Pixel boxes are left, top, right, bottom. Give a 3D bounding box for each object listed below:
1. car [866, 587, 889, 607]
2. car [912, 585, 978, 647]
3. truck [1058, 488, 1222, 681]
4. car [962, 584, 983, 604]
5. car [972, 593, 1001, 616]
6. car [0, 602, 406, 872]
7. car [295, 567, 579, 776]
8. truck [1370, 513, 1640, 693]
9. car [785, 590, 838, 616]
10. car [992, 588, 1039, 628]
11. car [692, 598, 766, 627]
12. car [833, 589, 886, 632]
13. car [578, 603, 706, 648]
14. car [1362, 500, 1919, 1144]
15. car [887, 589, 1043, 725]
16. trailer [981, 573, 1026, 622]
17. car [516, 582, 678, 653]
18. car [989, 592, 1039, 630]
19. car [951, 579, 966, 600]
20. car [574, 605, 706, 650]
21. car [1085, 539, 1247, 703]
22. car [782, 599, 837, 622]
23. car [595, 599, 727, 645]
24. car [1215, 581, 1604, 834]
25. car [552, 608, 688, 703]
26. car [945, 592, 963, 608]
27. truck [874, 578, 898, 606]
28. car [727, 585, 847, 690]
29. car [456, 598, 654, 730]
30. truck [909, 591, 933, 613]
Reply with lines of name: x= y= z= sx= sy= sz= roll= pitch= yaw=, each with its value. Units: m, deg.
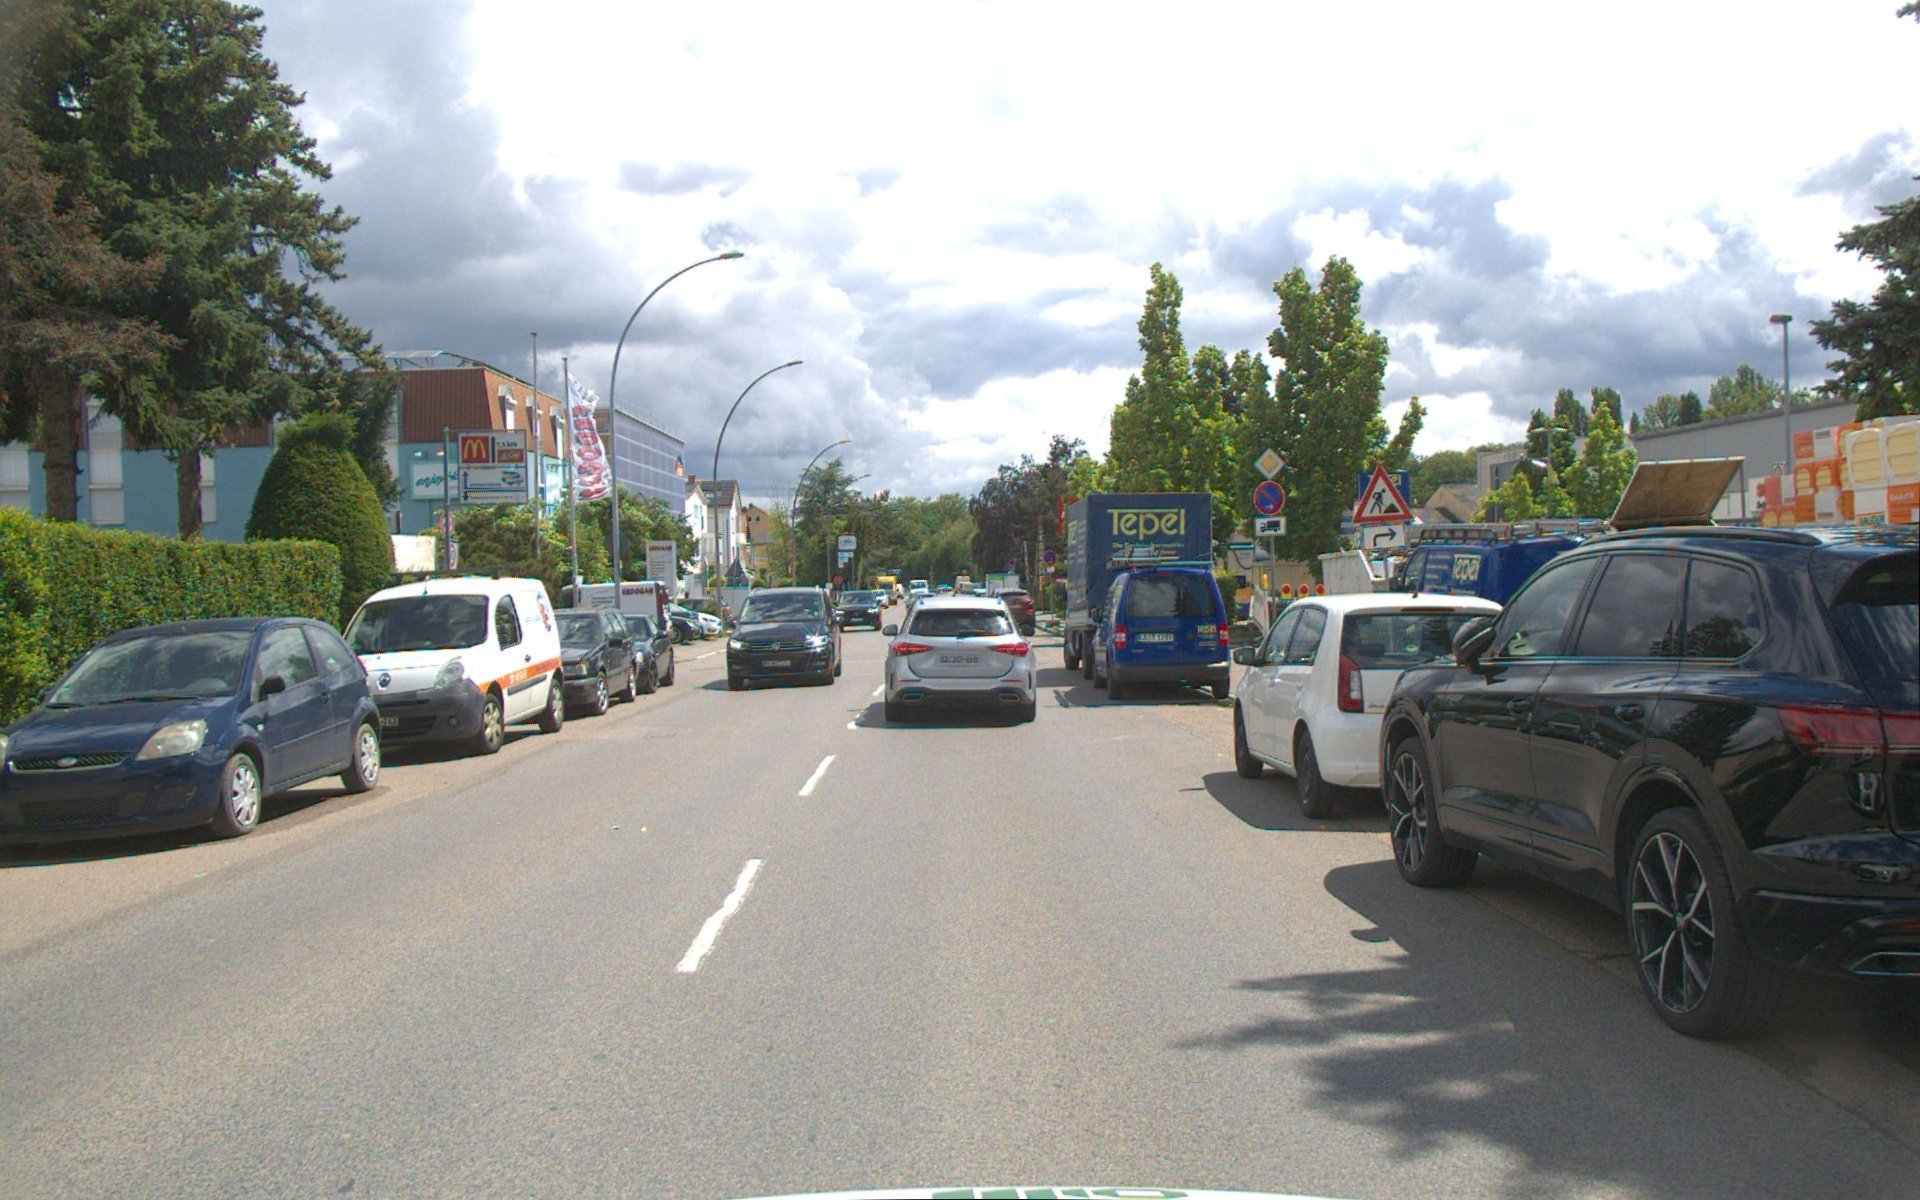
car: x=-7.002 y=-0.274 z=141.003 sx=1.755 sy=1.631 sz=4.363 roll=-2 pitch=1 yaw=-1
car: x=-0.439 y=0.402 z=45.792 sx=1.720 sy=1.585 sz=3.999 roll=-1 pitch=1 yaw=-1
truck: x=3.141 y=-0.278 z=30.245 sx=2.273 sy=3.151 sz=6.042 roll=1 pitch=0 yaw=-1
car: x=1.337 y=-0.608 z=176.519 sx=2.100 sy=2.018 sz=5.261 roll=-2 pitch=0 yaw=0
car: x=1.873 y=0.297 z=117.765 sx=1.756 sy=1.475 sz=4.361 roll=-2 pitch=1 yaw=-3
car: x=-5.558 y=0.862 z=12.195 sx=1.607 sy=1.512 sz=3.999 roll=-4 pitch=1 yaw=-2
car: x=-5.516 y=0.660 z=18.042 sx=1.709 sy=1.870 sz=4.354 roll=-4 pitch=1 yaw=-2
truck: x=7.471 y=-0.047 z=23.328 sx=1.793 sy=2.117 sz=5.385 roll=-4 pitch=2 yaw=-2
car: x=-12.172 y=0.257 z=135.647 sx=4.193 sy=1.868 sz=1.990 roll=-2 pitch=-3 yaw=-2
car: x=2.339 y=0.312 z=70.528 sx=1.901 sy=1.599 sz=4.446 roll=-2 pitch=1 yaw=1
car: x=-13.197 y=0.715 z=94.734 sx=4.068 sy=1.518 sz=1.824 roll=1 pitch=0 yaw=-4
car: x=-4.149 y=0.400 z=68.670 sx=1.953 sy=1.644 sz=4.410 roll=-2 pitch=1 yaw=-1
car: x=-10.704 y=0.840 z=55.815 sx=3.904 sy=1.379 sz=1.872 roll=-1 pitch=1 yaw=1
car: x=3.286 y=0.556 z=6.929 sx=1.836 sy=1.757 sz=4.711 roll=-2 pitch=1 yaw=-3
car: x=-0.030 y=0.619 z=20.639 sx=1.749 sy=1.510 sz=4.314 roll=0 pitch=1 yaw=-3
trailer: x=2.124 y=-0.123 z=81.865 sx=1.902 sy=2.334 sz=4.444 roll=-2 pitch=0 yaw=-2
car: x=-11.090 y=0.521 z=50.800 sx=4.560 sy=2.006 sz=2.114 roll=-1 pitch=1 yaw=-4
car: x=2.431 y=0.467 z=75.854 sx=1.903 sy=1.599 sz=4.443 roll=-2 pitch=1 yaw=-3
car: x=-0.232 y=-1.346 z=214.140 sx=1.749 sy=2.562 sz=4.314 roll=0 pitch=0 yaw=-3
car: x=-10.338 y=0.878 z=53.616 sx=3.907 sy=1.338 sz=1.871 roll=-1 pitch=0 yaw=-2
car: x=2.979 y=0.262 z=24.779 sx=1.835 sy=2.207 sz=4.464 roll=1 pitch=1 yaw=0
car: x=-11.854 y=0.840 z=130.459 sx=4.192 sy=1.594 sz=1.991 roll=-2 pitch=-3 yaw=-1
car: x=-10.538 y=0.776 z=58.461 sx=4.285 sy=1.504 sz=1.871 roll=-1 pitch=-1 yaw=-1
car: x=3.148 y=0.655 z=12.428 sx=1.737 sy=1.534 sz=3.999 roll=-2 pitch=1 yaw=-1
car: x=-5.772 y=0.896 z=28.524 sx=1.598 sy=1.326 sz=4.114 roll=-4 pitch=1 yaw=-3
car: x=-0.635 y=0.025 z=169.218 sx=1.720 sy=1.585 sz=3.999 roll=-1 pitch=1 yaw=-1
truck: x=-7.828 y=-0.861 z=174.819 sx=2.032 sy=2.863 sz=7.078 roll=-2 pitch=1 yaw=0
car: x=-2.951 y=0.585 z=28.946 sx=1.708 sy=1.656 sz=4.355 roll=-1 pitch=1 yaw=-1
car: x=-5.582 y=0.808 z=23.378 sx=1.709 sy=1.497 sz=4.642 roll=-4 pitch=1 yaw=-2
truck: x=-4.149 y=0.209 z=177.704 sx=2.271 sy=2.216 sz=6.450 roll=-2 pitch=1 yaw=1
